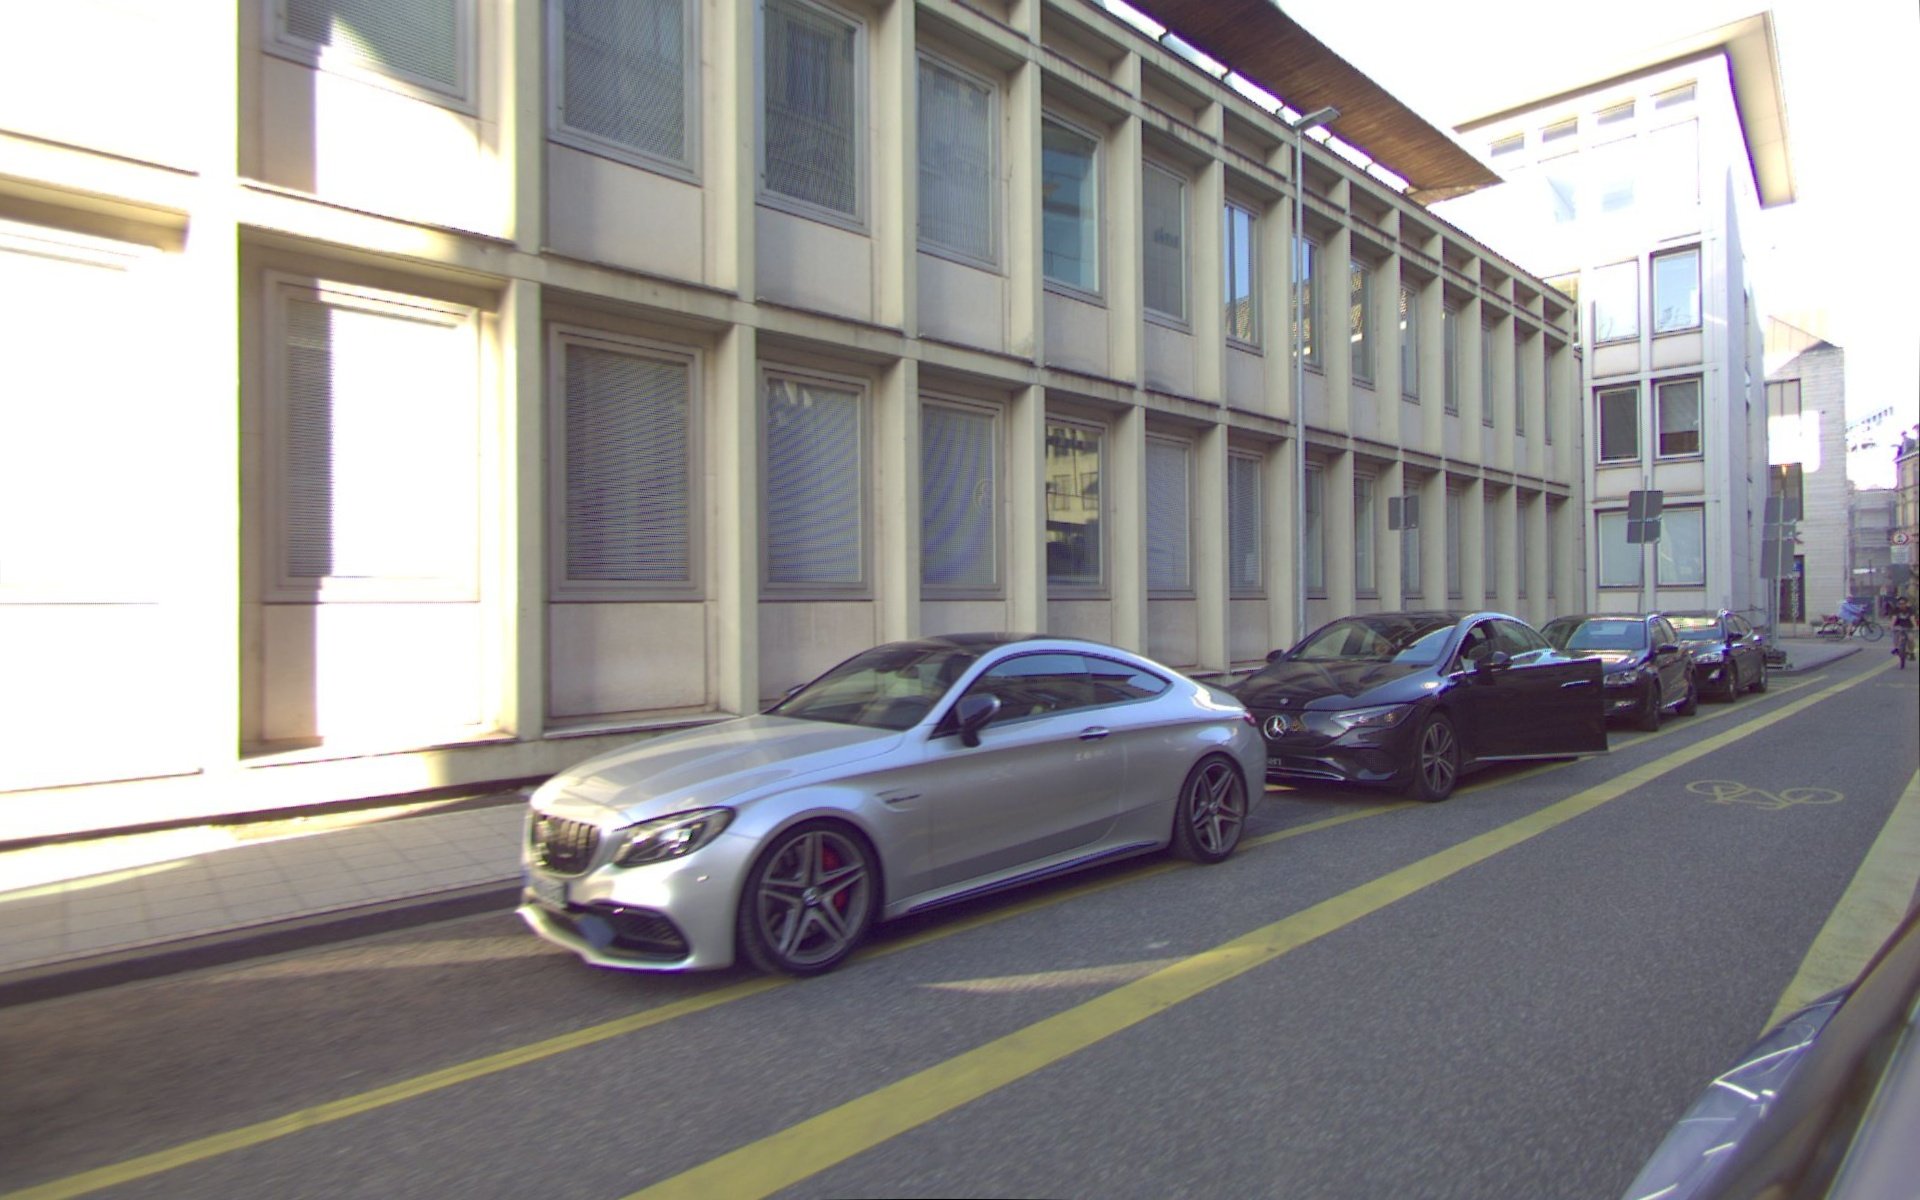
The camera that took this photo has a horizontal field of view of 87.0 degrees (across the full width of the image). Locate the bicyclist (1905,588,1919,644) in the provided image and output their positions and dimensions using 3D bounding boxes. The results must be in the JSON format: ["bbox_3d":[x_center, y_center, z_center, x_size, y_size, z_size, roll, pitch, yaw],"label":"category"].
[{"bbox_3d":[22.600,0.376,23.765,0.542,1.305,0.537,0,-2,-44],"label":"bicyclist"}]

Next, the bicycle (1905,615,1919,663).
[{"bbox_3d":[22.500,0.908,23.654,1.402,1.080,0.534,0,-1,-45],"label":"bicycle"}]

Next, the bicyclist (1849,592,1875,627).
[{"bbox_3d":[33.668,0.358,37.759,0.528,1.305,0.612,0,-1,-38],"label":"bicyclist"}]

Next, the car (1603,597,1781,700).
[{"bbox_3d":[12.447,0.729,17.108,4.184,1.510,1.694,0,-1,-44],"label":"car"}]

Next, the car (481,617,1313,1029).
[{"bbox_3d":[-0.039,0.823,5.664,4.516,1.361,1.700,-1,-1,-40],"label":"car"}]

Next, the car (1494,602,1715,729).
[{"bbox_3d":[8.647,0.765,13.442,3.822,1.417,1.628,0,-1,-44],"label":"car"}]

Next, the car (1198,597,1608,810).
[{"bbox_3d":[4.307,0.744,9.405,4.710,1.489,1.698,0,-1,-42],"label":"car"}]

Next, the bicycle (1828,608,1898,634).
[{"bbox_3d":[33.669,0.782,37.750,0.525,0.921,1.871,0,-1,-37],"label":"bicycle"}]
